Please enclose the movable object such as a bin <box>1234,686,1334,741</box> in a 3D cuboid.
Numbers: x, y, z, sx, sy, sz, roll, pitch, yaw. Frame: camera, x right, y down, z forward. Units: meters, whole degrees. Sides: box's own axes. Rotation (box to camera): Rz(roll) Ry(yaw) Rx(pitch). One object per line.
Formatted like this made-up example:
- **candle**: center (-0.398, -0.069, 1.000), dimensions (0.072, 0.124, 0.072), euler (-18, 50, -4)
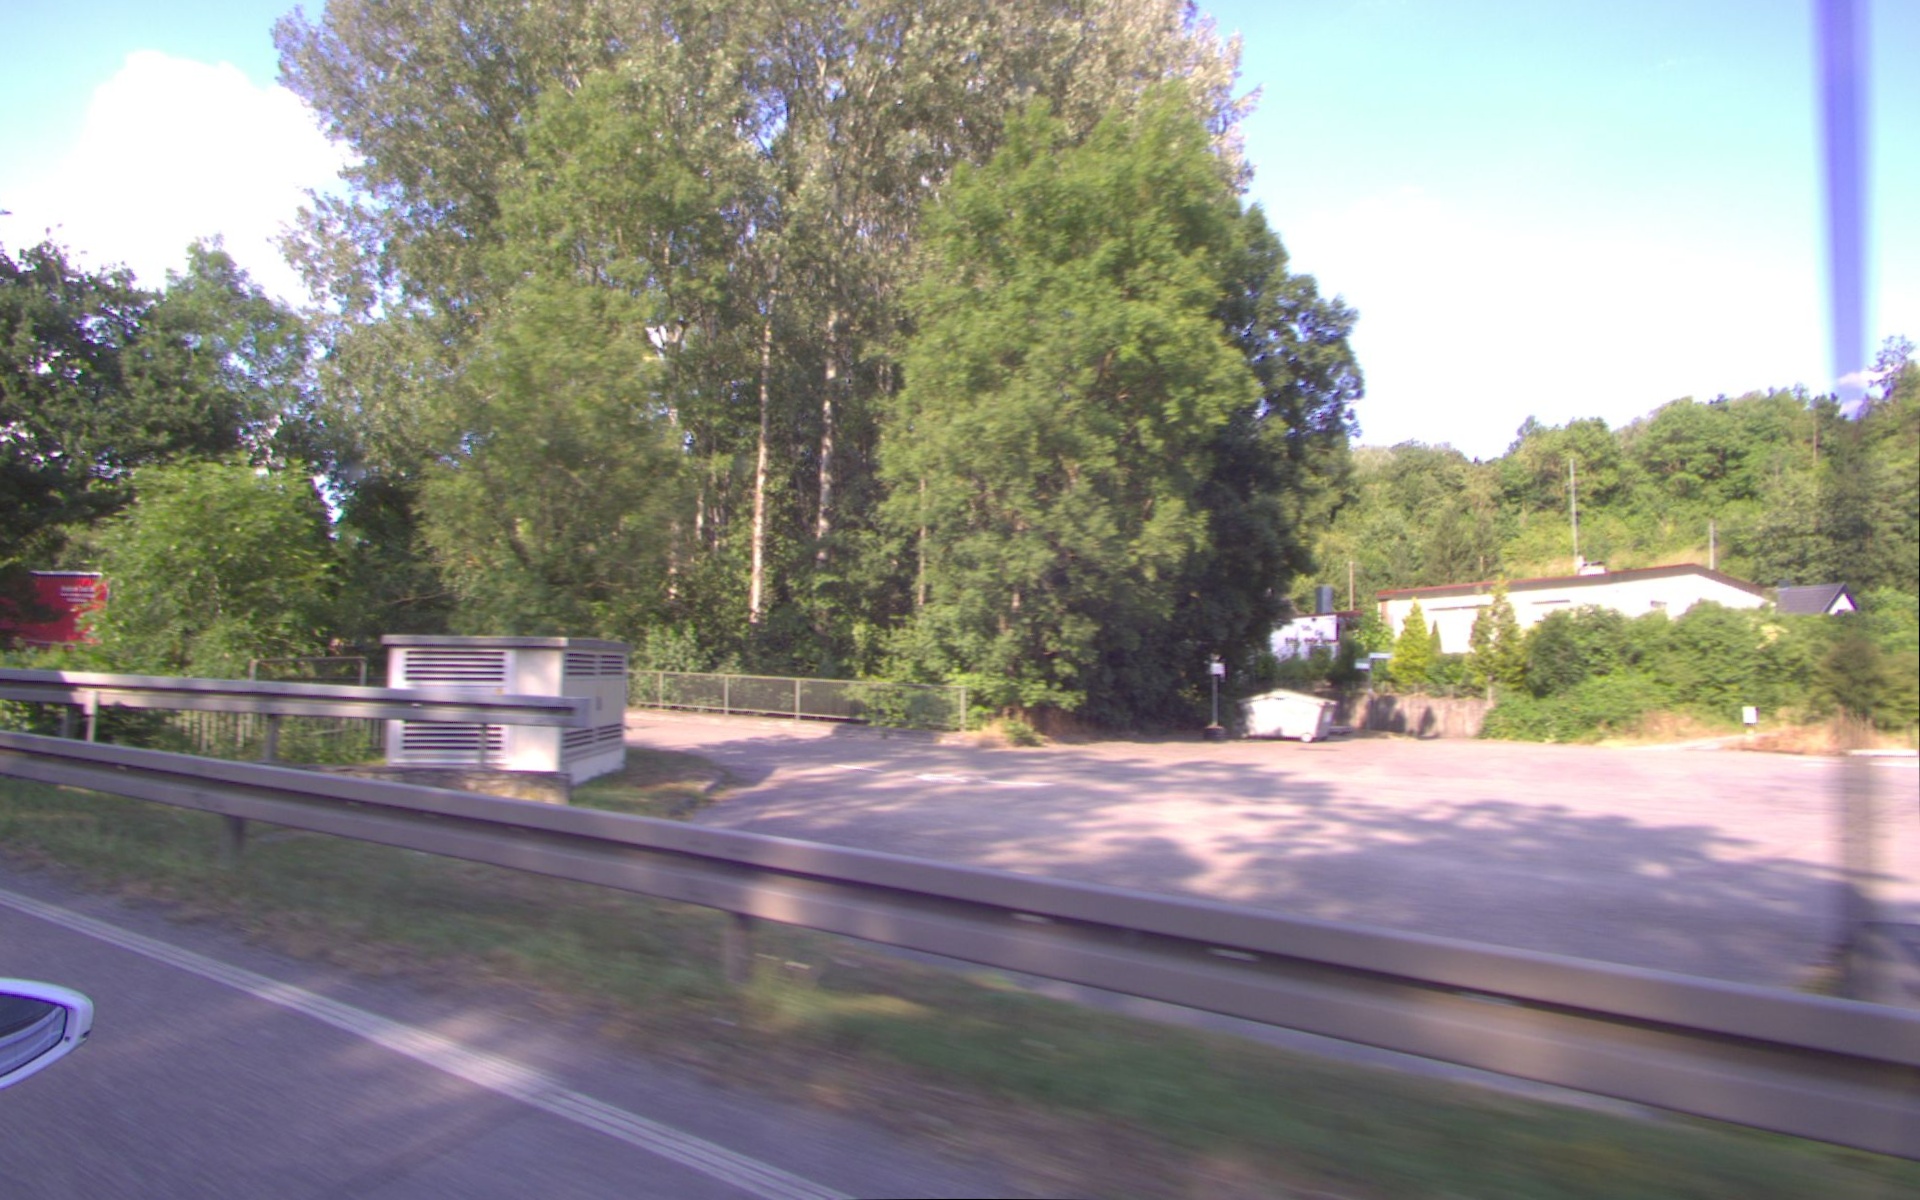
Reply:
- **movable object such as a bin**: center (9.366, 3.254, 28.923), dimensions (2.520, 1.436, 1.266), euler (0, -5, 31)
